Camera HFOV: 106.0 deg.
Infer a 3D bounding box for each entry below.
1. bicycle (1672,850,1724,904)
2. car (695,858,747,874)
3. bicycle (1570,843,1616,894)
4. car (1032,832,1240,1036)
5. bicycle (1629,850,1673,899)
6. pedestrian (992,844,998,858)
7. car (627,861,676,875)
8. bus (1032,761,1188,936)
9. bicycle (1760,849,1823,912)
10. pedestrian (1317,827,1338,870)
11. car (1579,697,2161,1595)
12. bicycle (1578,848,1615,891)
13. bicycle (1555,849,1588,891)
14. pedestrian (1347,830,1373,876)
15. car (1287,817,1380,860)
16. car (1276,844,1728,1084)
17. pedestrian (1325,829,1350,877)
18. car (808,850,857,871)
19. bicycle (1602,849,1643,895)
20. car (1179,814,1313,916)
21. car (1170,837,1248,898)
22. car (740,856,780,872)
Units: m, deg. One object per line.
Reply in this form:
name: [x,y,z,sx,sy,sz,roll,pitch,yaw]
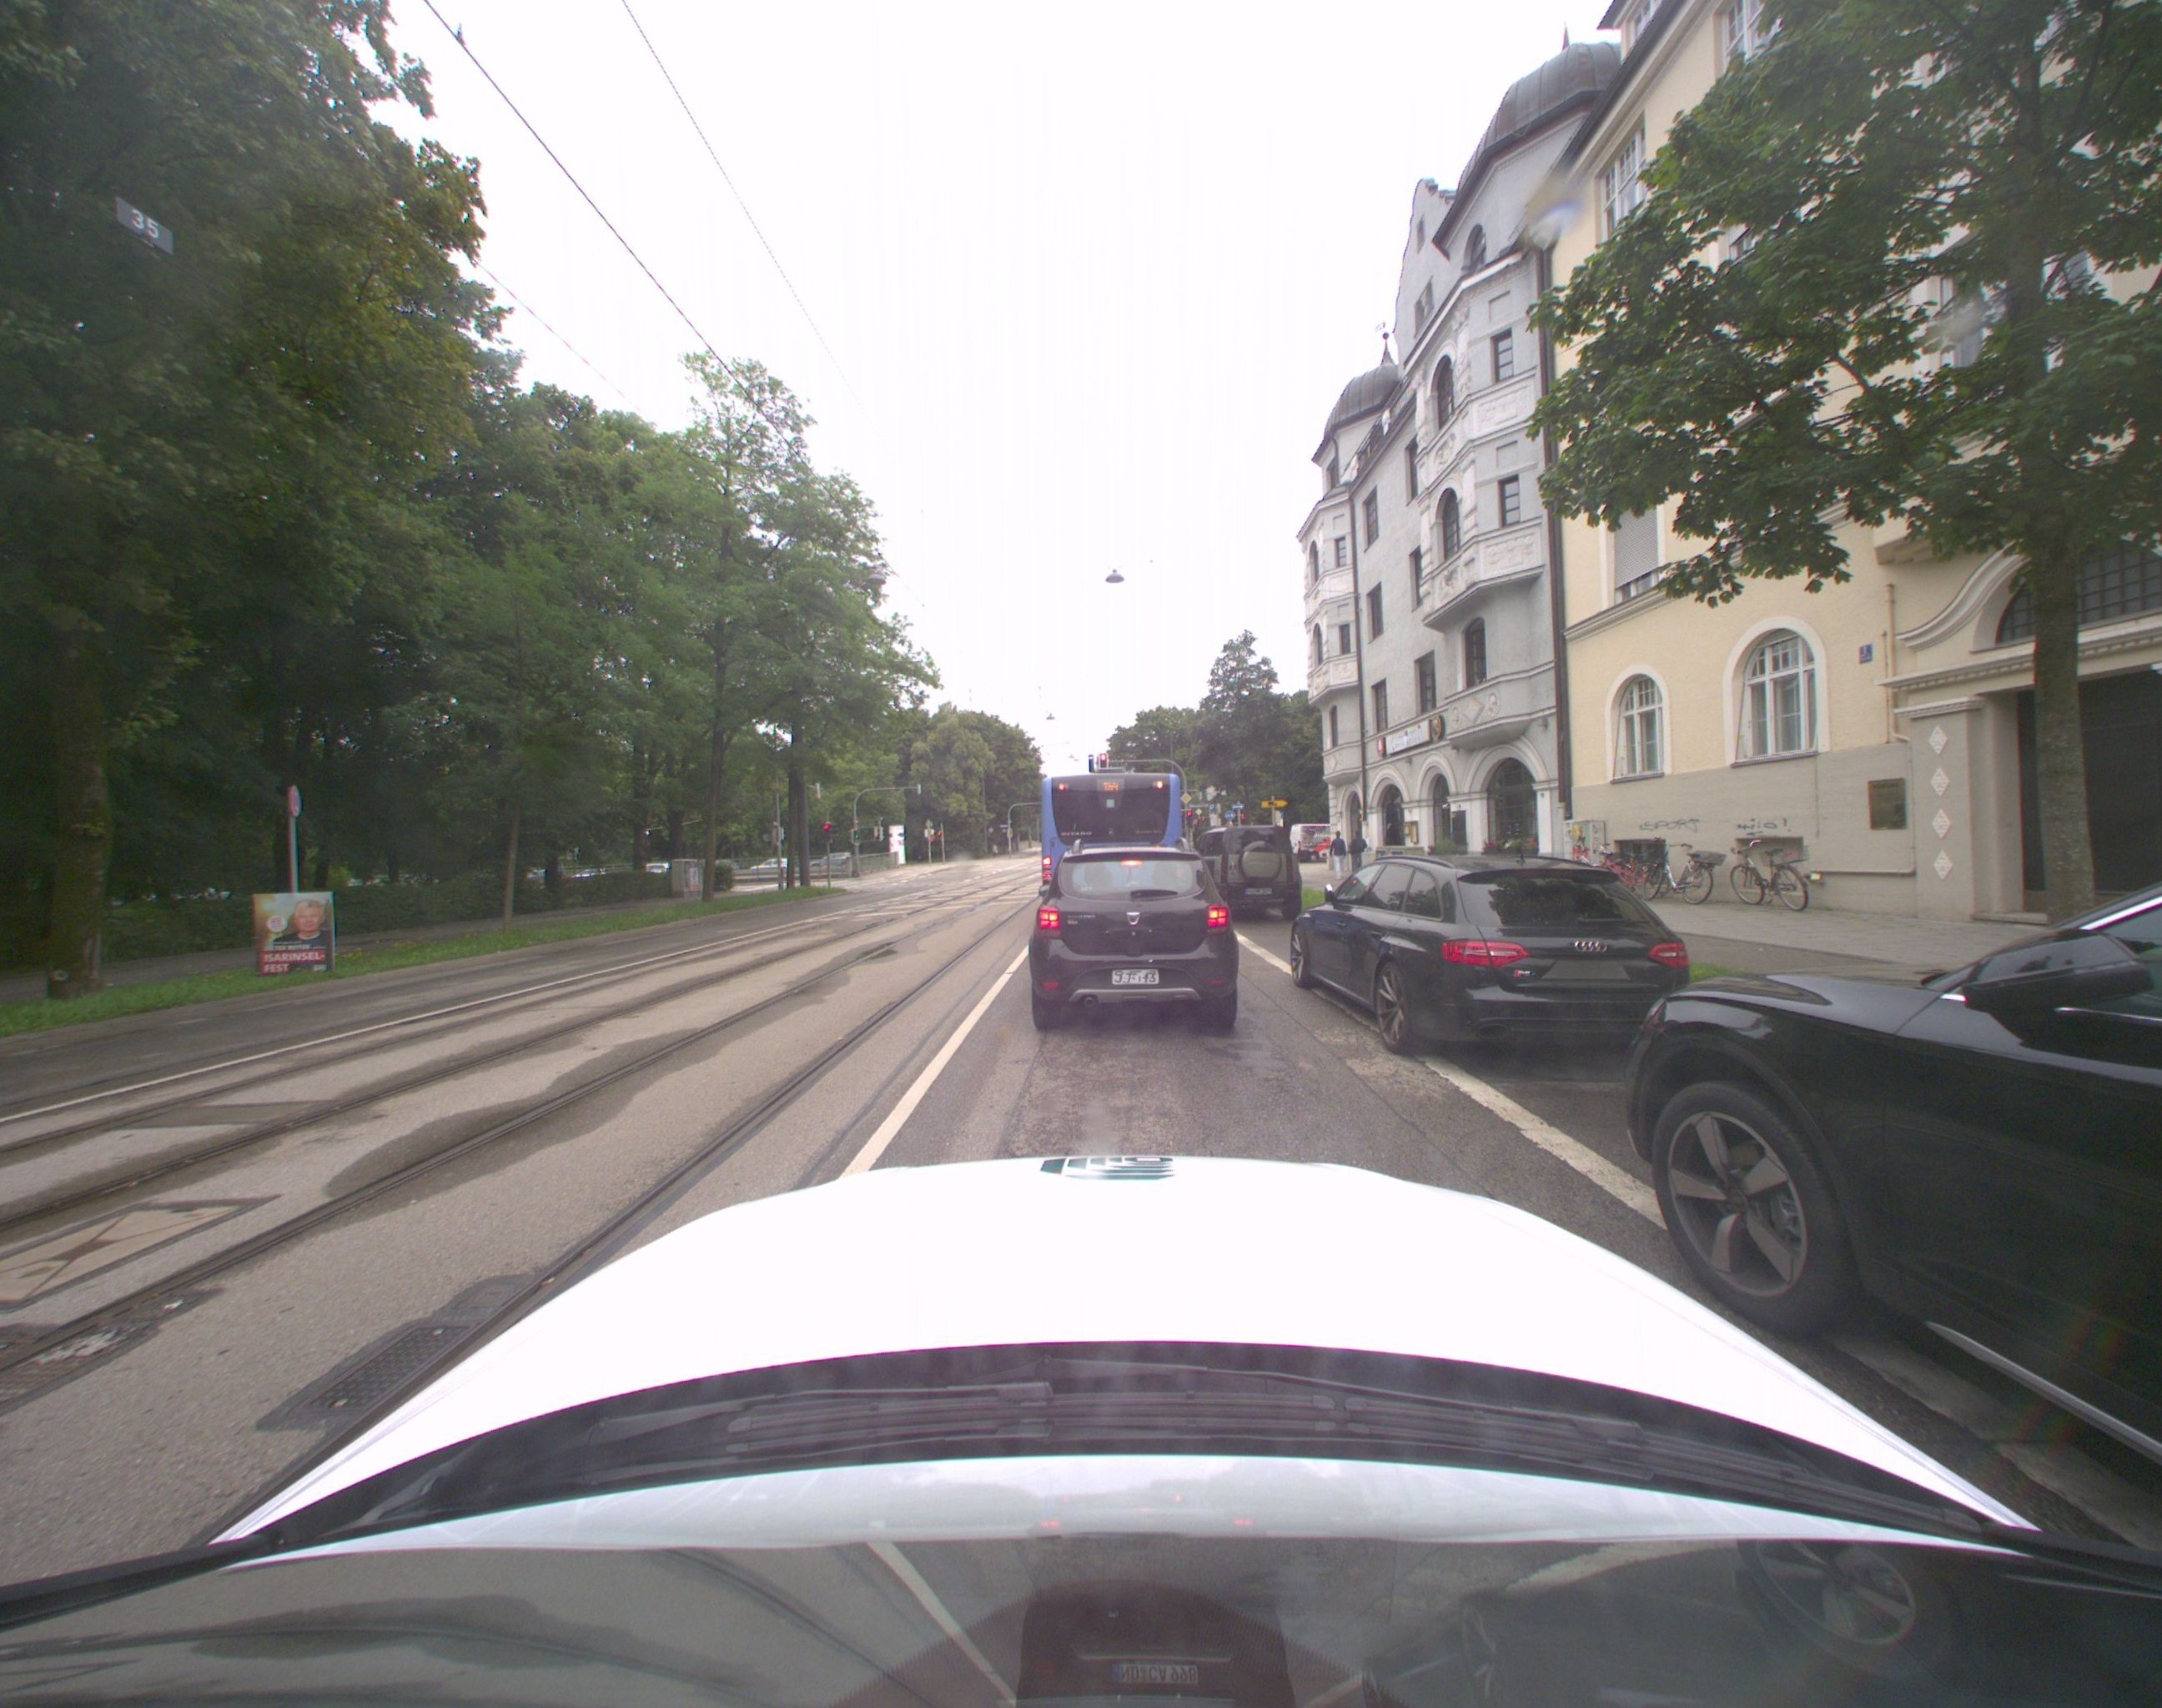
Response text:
bicycle: [11.023,0.391,14.574,0.284,0.930,0.886,-1,0,3]
car: [-32.989,1.068,74.650,3.915,1.404,1.719,-1,0,-3]
bicycle: [10.834,0.302,17.257,0.241,1.039,1.224,-1,0,2]
car: [0.465,0.607,8.049,1.595,1.556,3.526,-1,0,1]
bicycle: [11.123,0.394,15.909,0.271,0.930,0.886,-1,0,3]
pedestrian: [-9.451,-0.315,89.824,0.529,1.501,0.589,-1,0,6]
car: [-39.185,1.277,74.402,3.720,1.185,1.249,-1,0,-4]
bus: [0.514,-0.110,17.592,2.670,2.997,6.960,-1,0,0]
bicycle: [11.014,0.395,12.644,0.220,0.930,0.886,-1,0,1]
pedestrian: [12.021,-0.263,39.702,0.712,2.013,0.674,-3,0,-2]
car: [2.851,0.528,1.084,1.767,1.658,4.490,-1,0,2]
bicycle: [11.276,0.330,17.838,0.289,0.930,0.886,-1,0,3]
bicycle: [11.304,0.362,18.775,0.258,0.930,0.886,-1,0,3]
pedestrian: [10.612,-0.042,31.008,0.702,1.732,0.843,-1,0,1]
car: [16.115,-0.971,52.222,5.281,2.612,2.229,-1,0,-2]
car: [3.087,0.652,7.210,1.710,1.426,4.603,-1,0,1]
pedestrian: [9.842,-0.041,31.268,0.702,1.816,0.870,-1,0,2]
car: [-22.780,0.562,74.826,4.016,1.887,1.488,-1,0,-5]
bicycle: [11.213,0.355,16.877,0.304,0.930,0.886,-1,0,3]
car: [3.418,0.190,17.830,1.908,1.905,4.807,-1,0,0]
car: [3.598,0.358,23.634,1.708,1.591,4.329,-1,0,2]
car: [-29.440,0.905,74.776,3.103,1.452,1.249,-1,0,-4]
